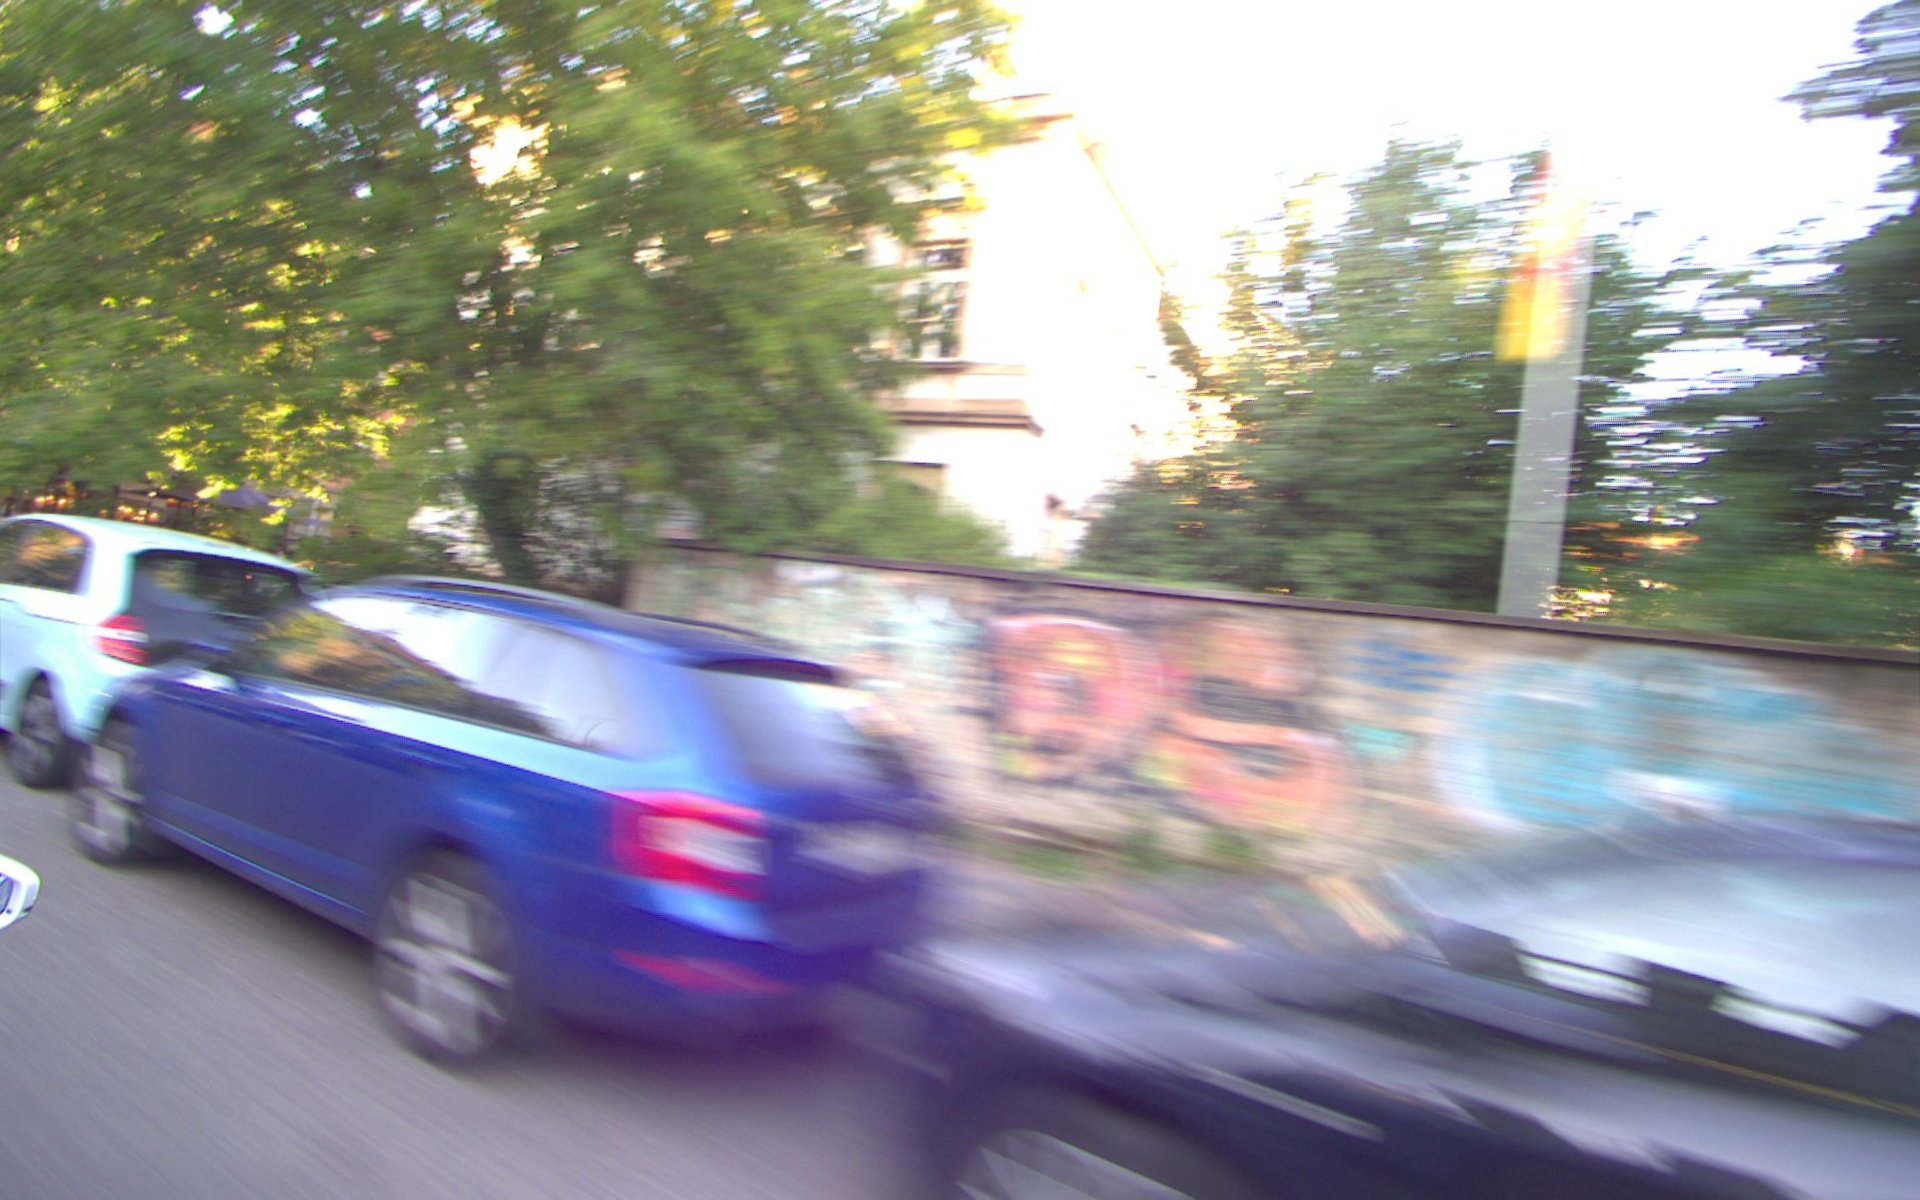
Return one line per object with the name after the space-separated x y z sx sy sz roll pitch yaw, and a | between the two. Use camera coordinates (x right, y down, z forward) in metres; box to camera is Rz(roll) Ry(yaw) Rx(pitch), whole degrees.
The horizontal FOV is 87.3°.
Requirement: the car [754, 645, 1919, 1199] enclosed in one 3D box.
1.549 1.124 2.201 3.711 1.493 1.601 6 -3 32 | car

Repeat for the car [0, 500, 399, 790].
-5.863 0.200 6.951 3.498 1.493 1.701 7 -3 28 | car

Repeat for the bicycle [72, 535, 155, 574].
-26.379 -1.393 31.410 0.393 0.894 1.977 8 -3 18 | bicycle

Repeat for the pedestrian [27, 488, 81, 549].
-29.869 -2.672 33.172 0.827 1.824 0.777 8 -2 17 | pedestrian

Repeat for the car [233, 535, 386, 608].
-21.266 -0.890 33.062 1.598 1.622 3.772 9 -3 25 | car

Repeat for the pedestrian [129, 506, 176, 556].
-27.258 -2.329 33.951 0.747 1.497 0.776 8 -2 21 | pedestrian

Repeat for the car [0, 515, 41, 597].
-18.379 -0.990 17.380 1.854 1.481 3.963 10 -4 -14 | car

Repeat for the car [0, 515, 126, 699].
-9.776 -0.164 9.183 4.138 1.493 1.701 7 -3 27 | car

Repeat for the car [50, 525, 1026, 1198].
-1.974 0.681 4.343 4.049 1.493 1.699 6 -3 32 | car

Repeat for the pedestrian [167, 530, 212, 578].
-26.892 -1.605 35.106 0.747 1.497 0.776 8 -2 21 | pedestrian

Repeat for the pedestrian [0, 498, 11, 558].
-29.987 -2.301 30.850 0.827 1.824 0.777 8 -2 17 | pedestrian
